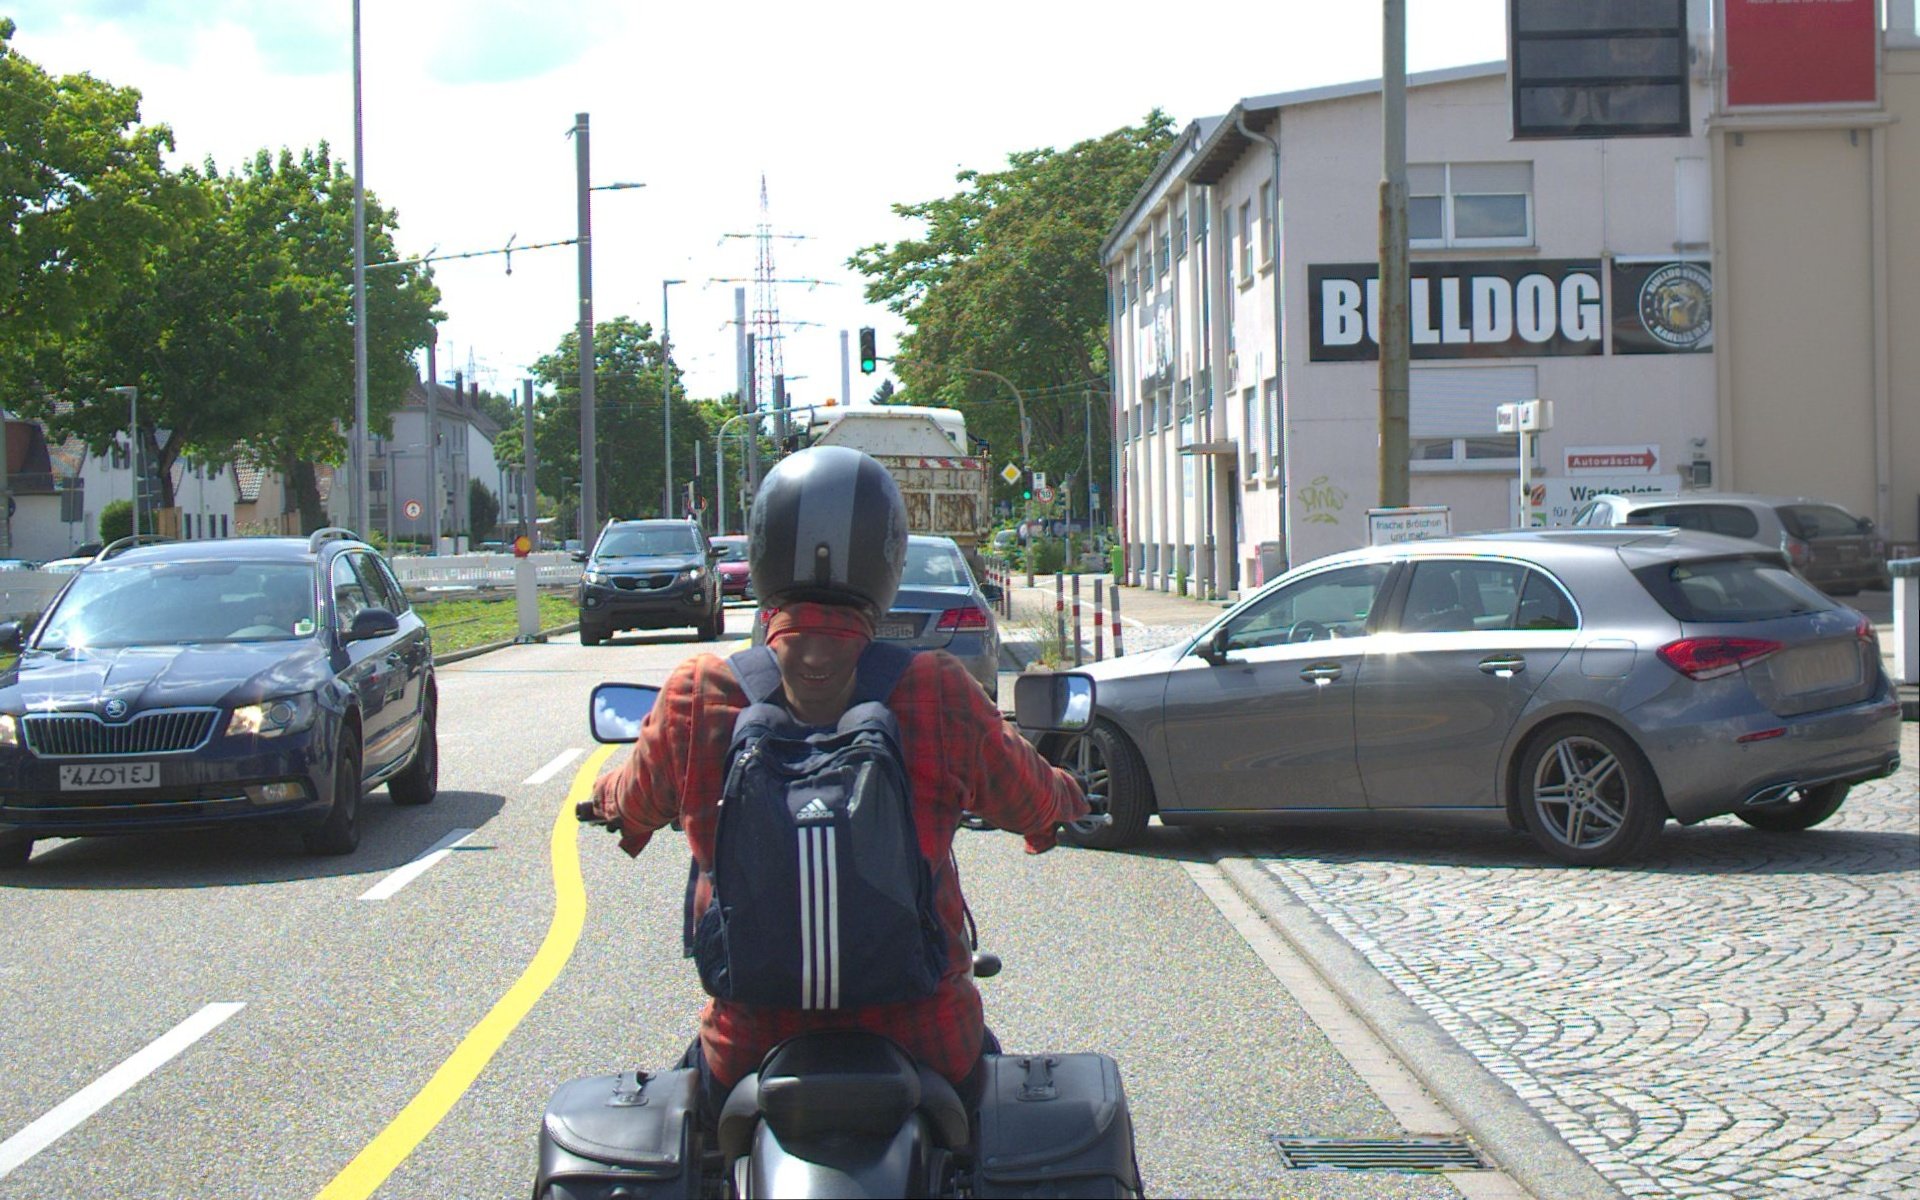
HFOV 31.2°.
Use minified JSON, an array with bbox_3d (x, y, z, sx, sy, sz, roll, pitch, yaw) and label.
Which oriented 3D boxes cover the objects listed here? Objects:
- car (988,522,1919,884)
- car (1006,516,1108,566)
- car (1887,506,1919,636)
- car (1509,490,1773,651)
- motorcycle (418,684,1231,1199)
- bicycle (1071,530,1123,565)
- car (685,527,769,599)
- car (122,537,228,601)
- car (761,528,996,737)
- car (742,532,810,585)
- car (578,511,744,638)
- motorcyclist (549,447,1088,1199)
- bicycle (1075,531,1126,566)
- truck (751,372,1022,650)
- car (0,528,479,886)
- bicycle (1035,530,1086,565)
[{"bbox_3d":[2.247,0.383,15.782,4.083,1.399,1.733,2,1,41],"label":"car"},{"bbox_3d":[3.855,-2.326,136.256,1.802,1.919,3.989,1,1,45],"label":"car"},{"bbox_3d":[11.715,-0.347,37.568,1.691,1.466,4.424,-2,1,-3],"label":"car"},{"bbox_3d":[7.243,-0.338,37.028,1.945,1.619,4.616,0,1,0],"label":"car"},{"bbox_3d":[-0.178,0.792,5.263,0.942,1.196,2.473,1,1,-1],"label":"motorcycle"},{"bbox_3d":[4.674,-1.798,117.224,1.708,1.168,0.438,1,0,5],"label":"bicycle"},{"bbox_3d":[-4.941,-0.790,73.234,1.578,1.464,3.720,1,1,-1],"label":"car"},{"bbox_3d":[-17.182,-0.682,75.406,1.521,1.349,3.621,1,1,-1],"label":"car"},{"bbox_3d":[-0.561,0.190,26.309,1.644,1.439,3.748,1,1,1],"label":"car"},{"bbox_3d":[-5.271,-1.184,98.897,1.821,1.440,4.484,-2,1,-2],"label":"car"},{"bbox_3d":[-4.170,-0.369,48.529,1.796,1.684,4.221,-1,1,2],"label":"car"},{"bbox_3d":[-0.195,0.599,4.880,0.698,1.599,0.692,1,0,-1],"label":"motorcyclist"},{"bbox_3d":[4.755,-1.737,116.575,1.708,1.168,0.438,1,0,5],"label":"bicycle"},{"bbox_3d":[-0.775,-1.065,43.457,2.967,3.162,7.763,1,1,2],"label":"truck"},{"bbox_3d":[-3.658,0.421,16.972,1.711,1.481,4.536,-2,1,2],"label":"car"},{"bbox_3d":[3.451,-1.802,117.805,1.708,1.168,0.438,1,0,5],"label":"bicycle"}]
